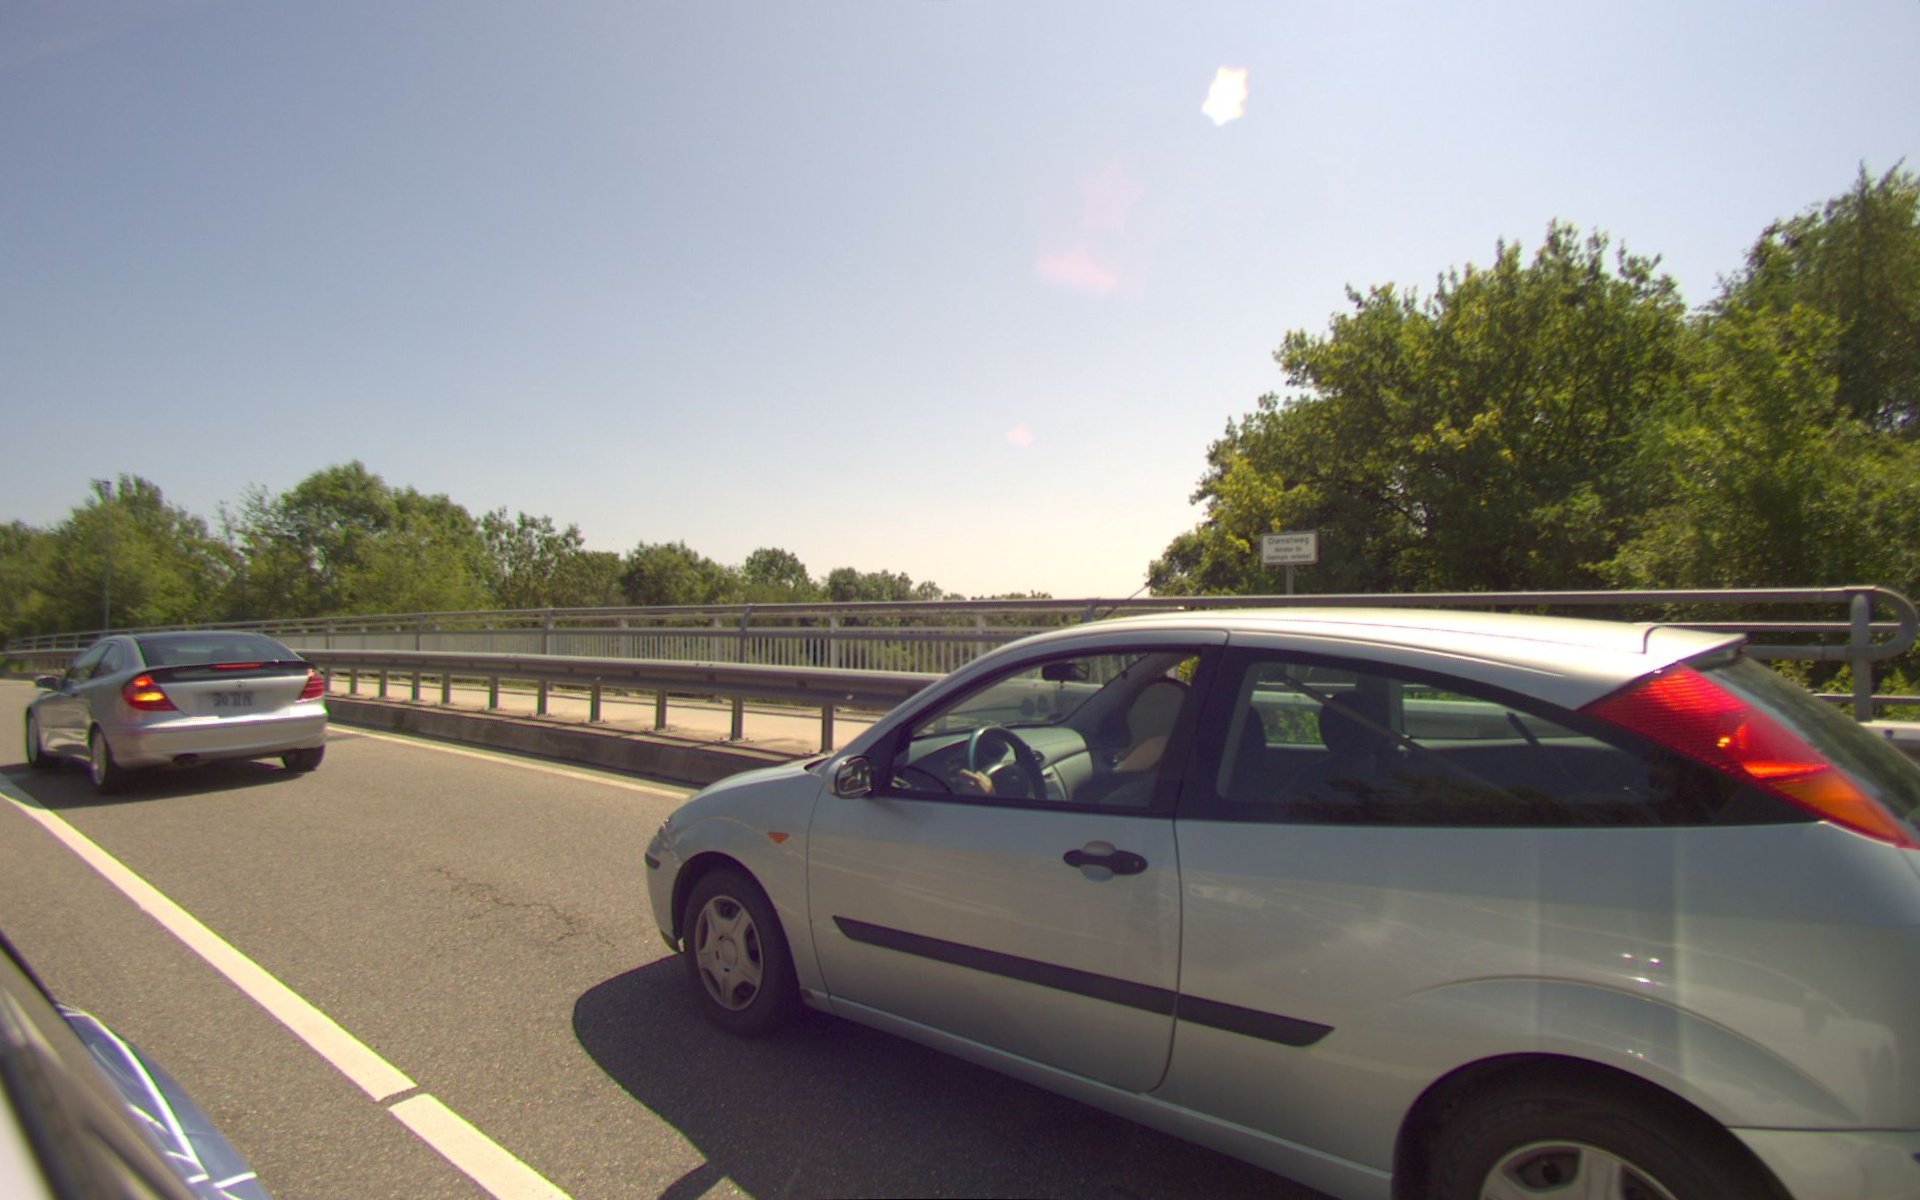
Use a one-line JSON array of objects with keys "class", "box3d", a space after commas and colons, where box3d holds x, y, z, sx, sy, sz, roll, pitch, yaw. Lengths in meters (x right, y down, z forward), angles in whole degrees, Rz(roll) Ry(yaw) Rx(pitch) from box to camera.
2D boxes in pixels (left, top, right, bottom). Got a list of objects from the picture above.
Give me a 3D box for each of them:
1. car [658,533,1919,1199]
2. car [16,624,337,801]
[{"class": "car", "box3d": [0.858, 0.673, 3.119, 3.705, 1.468, 1.777, -2, -1, 42]}, {"class": "car", "box3d": [-7.809, 0.957, 9.963, 3.933, 1.392, 1.627, -2, -1, 39]}]
